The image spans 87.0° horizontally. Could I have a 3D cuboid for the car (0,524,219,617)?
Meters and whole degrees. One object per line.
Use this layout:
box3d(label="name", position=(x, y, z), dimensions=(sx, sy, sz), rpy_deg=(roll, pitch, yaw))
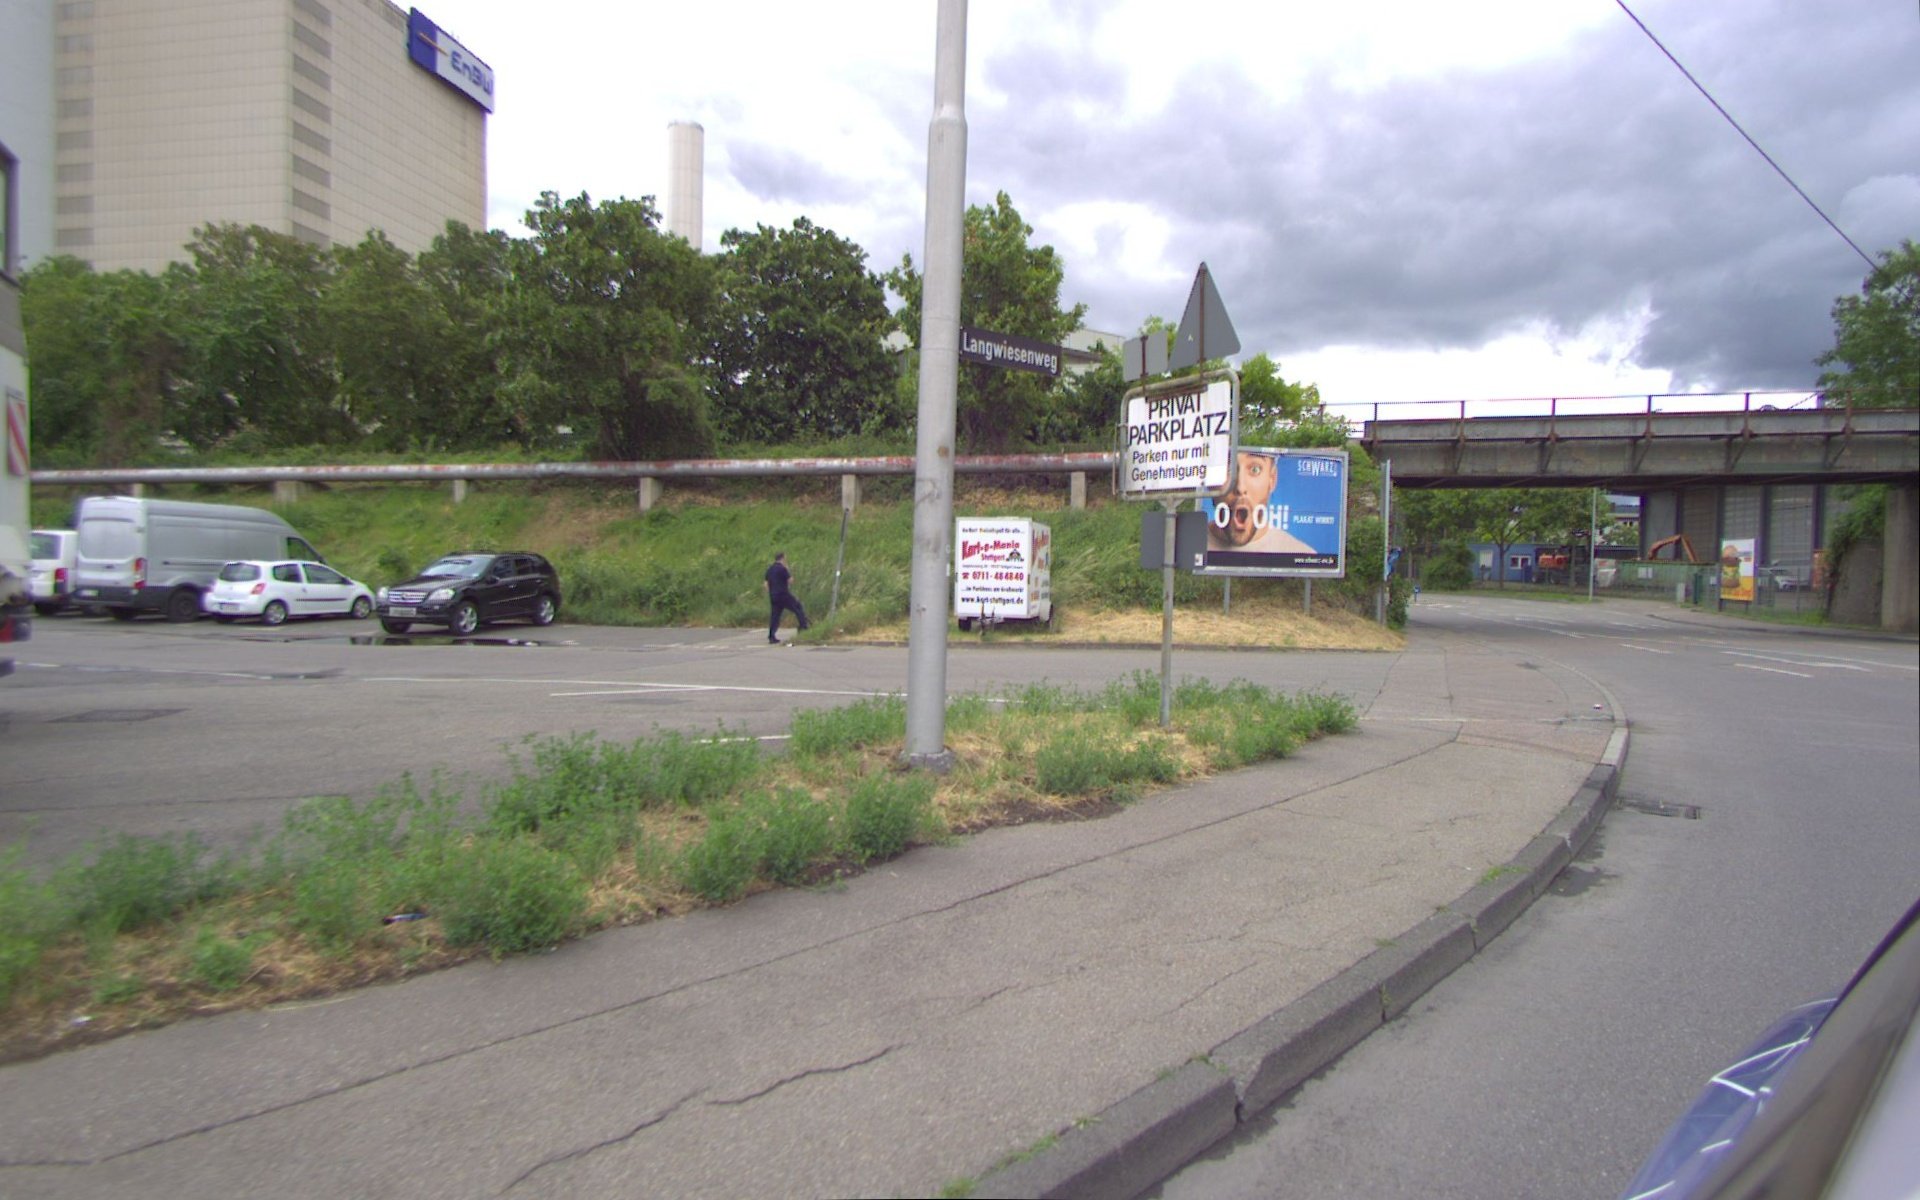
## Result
box3d(label="car", position=(-20.736, -0.738, 24.696), dimensions=(1.969, 2.076, 3.986), rpy_deg=(1, 2, 12))

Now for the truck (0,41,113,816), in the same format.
box3d(label="truck", position=(-8.400, -0.787, 3.072), dimensions=(8.429, 3.676, 3.078), rpy_deg=(0, 1, -27))

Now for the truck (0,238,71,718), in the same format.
box3d(label="truck", position=(-11.111, -0.901, 5.856), dimensions=(8.429, 3.676, 3.078), rpy_deg=(0, 1, -27))

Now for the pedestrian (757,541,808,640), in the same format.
box3d(label="pedestrian", position=(-3.368, -0.189, 19.261), dimensions=(0.691, 1.843, 0.691), rpy_deg=(1, 1, 27))

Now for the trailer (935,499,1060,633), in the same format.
box3d(label="trailer", position=(0.884, -0.677, 20.680), dimensions=(1.783, 2.427, 4.399), rpy_deg=(1, 1, 13))

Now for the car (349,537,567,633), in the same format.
box3d(label="car", position=(-10.976, -0.366, 22.569), dimensions=(1.969, 1.905, 4.640), rpy_deg=(1, 2, 11))

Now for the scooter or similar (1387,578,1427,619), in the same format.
box3d(label="scooter or similar", position=(14.601, -0.064, 33.099), dimensions=(0.496, 1.251, 1.670), rpy_deg=(5, 2, 1))

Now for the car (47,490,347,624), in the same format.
box3d(label="car", position=(-17.993, -1.001, 24.388), dimensions=(1.994, 2.813, 5.878), rpy_deg=(1, 2, 13))

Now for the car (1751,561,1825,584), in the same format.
box3d(label="car", position=(52.621, -1.780, 64.384), dimensions=(1.708, 1.391, 3.994), rpy_deg=(1, 2, 7))

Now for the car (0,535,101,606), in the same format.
box3d(label="car", position=(-25.392, -0.780, 26.577), dimensions=(1.969, 1.816, 3.986), rpy_deg=(1, 1, 12))

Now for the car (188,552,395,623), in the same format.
box3d(label="car", position=(-15.786, -0.341, 24.171), dimensions=(1.841, 1.526, 3.985), rpy_deg=(1, 2, 13))

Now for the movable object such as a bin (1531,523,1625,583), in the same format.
box3d(label="movable object such as a bin", position=(45.580, -3.416, 74.883), dimensions=(2.682, 4.142, 6.554), rpy_deg=(2, 1, -1))
